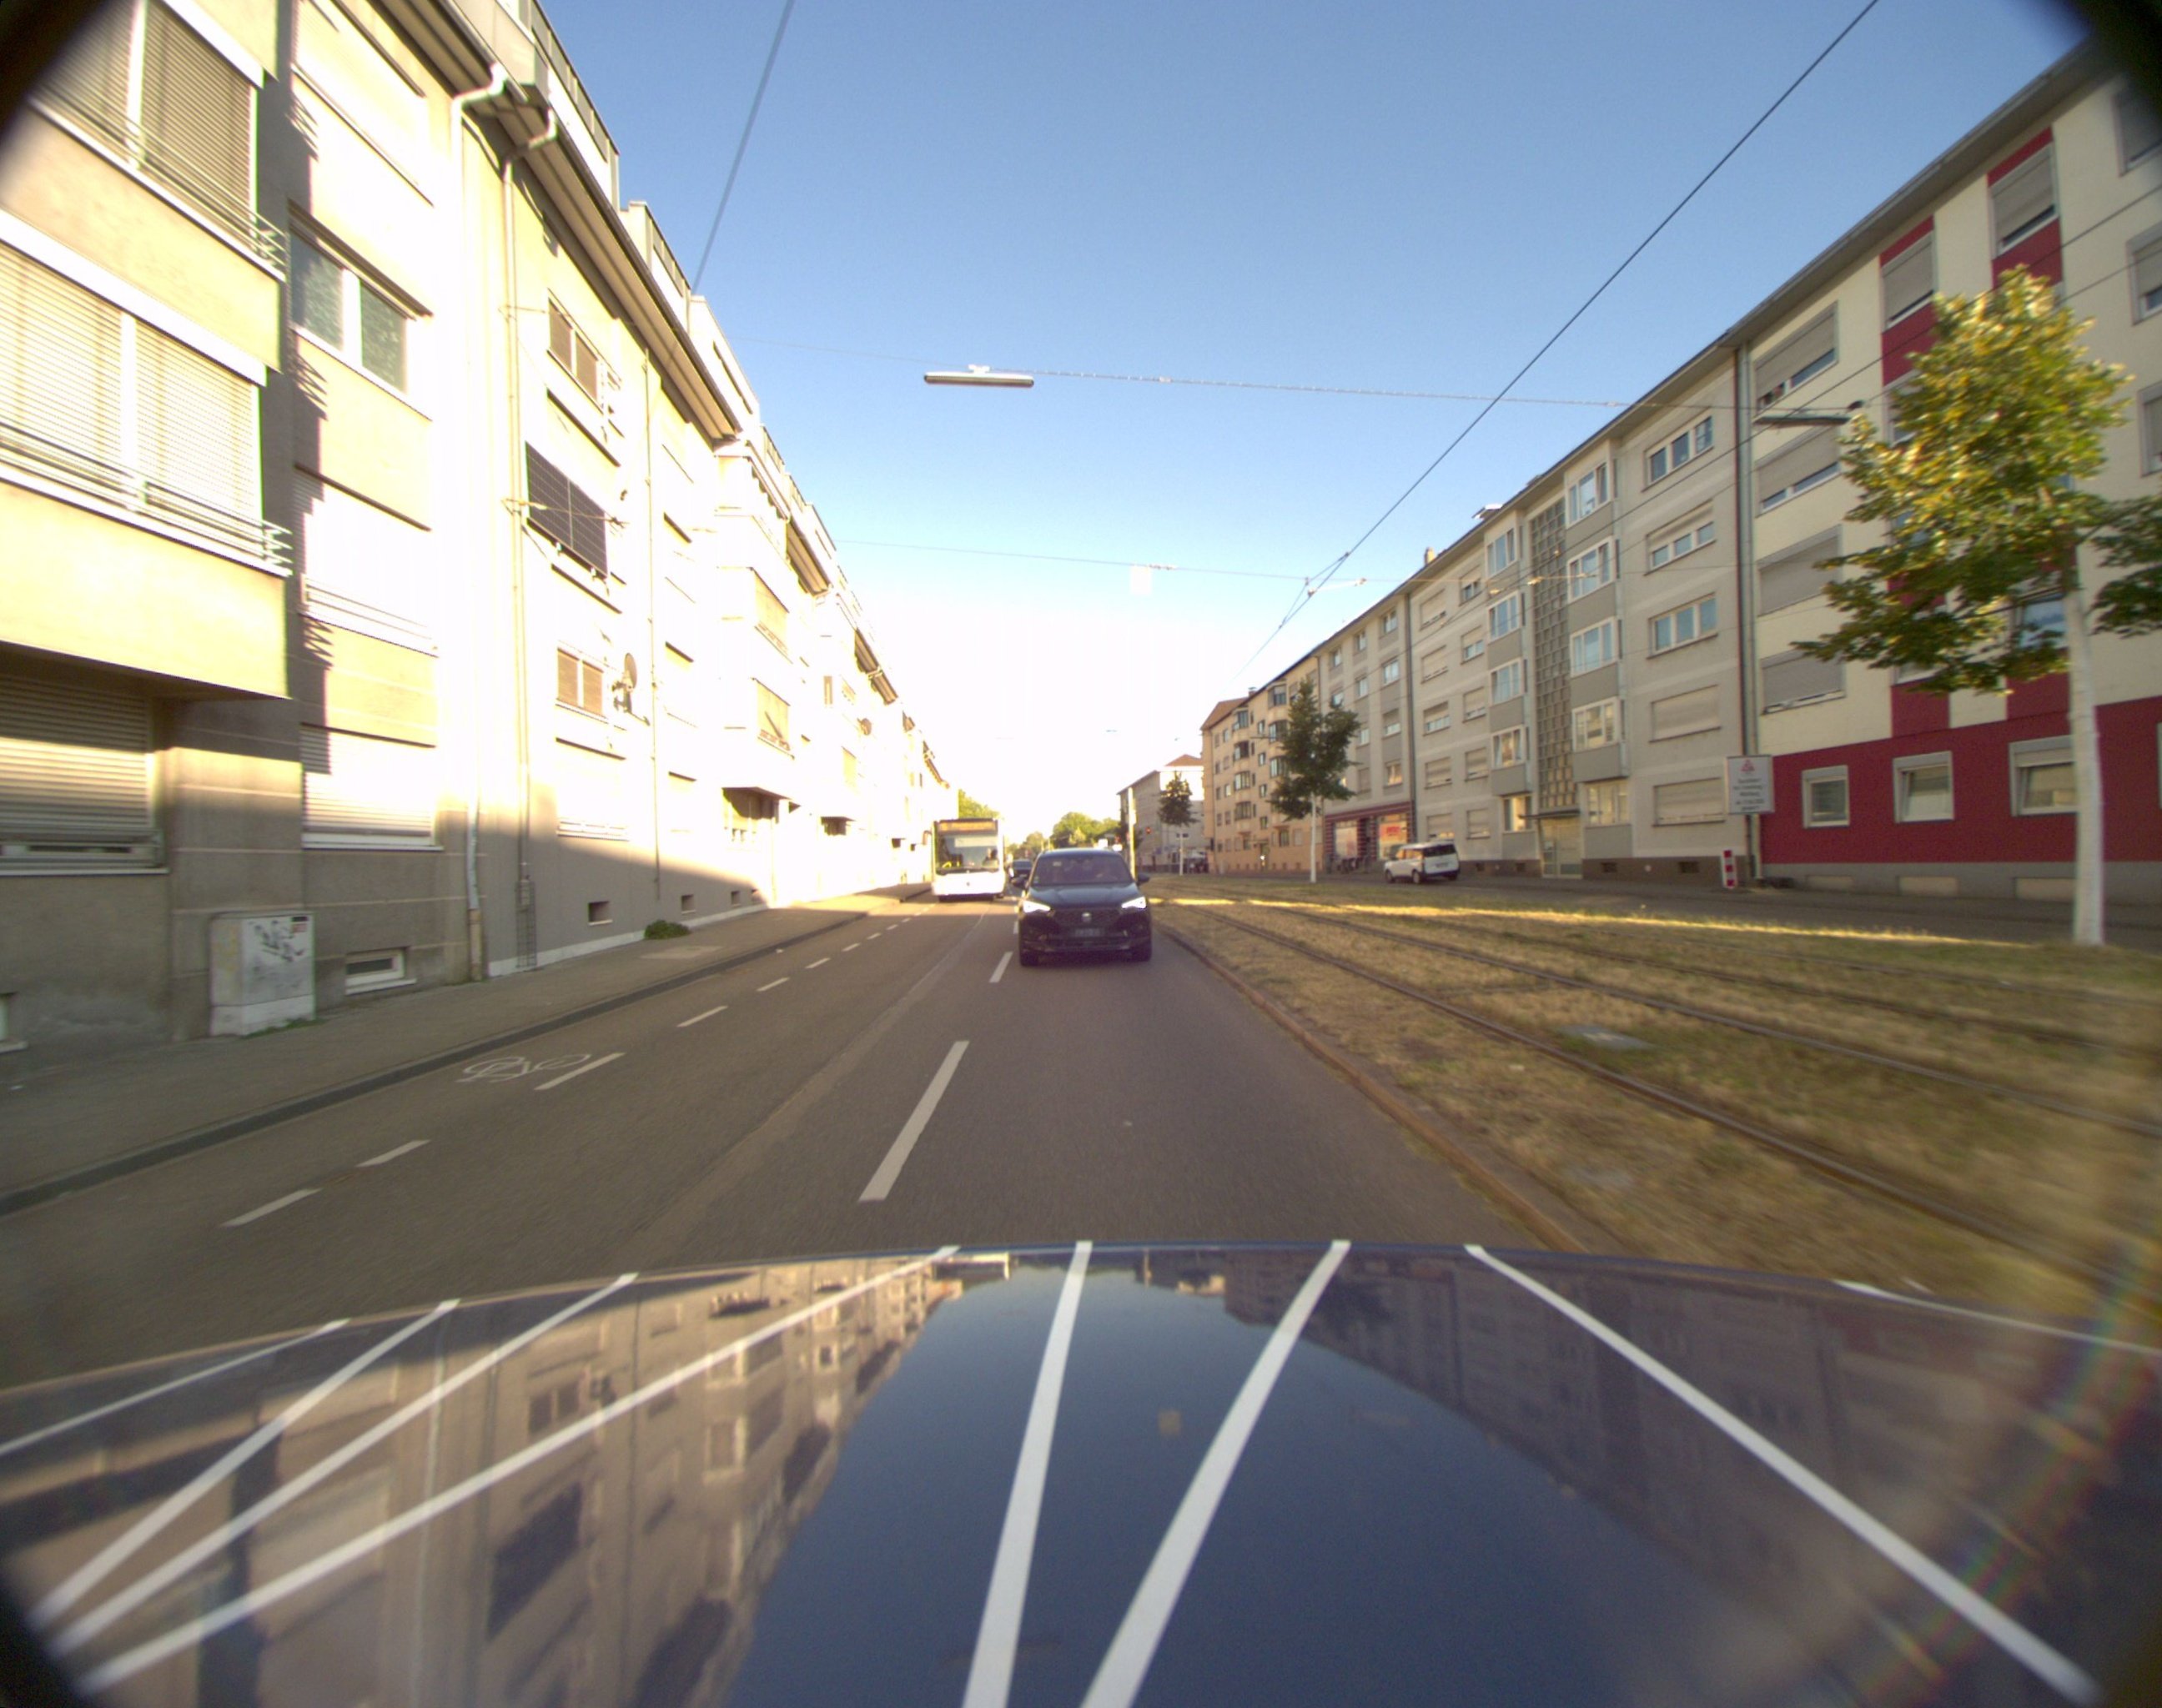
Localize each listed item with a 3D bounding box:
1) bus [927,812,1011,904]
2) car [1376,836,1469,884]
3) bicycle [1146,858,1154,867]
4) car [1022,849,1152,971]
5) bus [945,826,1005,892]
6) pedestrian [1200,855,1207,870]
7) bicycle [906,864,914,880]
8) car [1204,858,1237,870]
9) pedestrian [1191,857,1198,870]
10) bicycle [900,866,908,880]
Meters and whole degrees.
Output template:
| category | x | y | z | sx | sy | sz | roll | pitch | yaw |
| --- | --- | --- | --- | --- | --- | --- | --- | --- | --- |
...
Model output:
| category | x | y | z | sx | sy | sz | roll | pitch | yaw |
| --- | --- | --- | --- | --- | --- | --- | --- | --- | --- |
| bus | -4.414 | 0.178 | 31.058 | 2.733 | 3.059 | 10.594 | -2 | 0 | -7 |
| car | 15.590 | 0.255 | 35.024 | 1.872 | 1.818 | 4.420 | -8 | 0 | -3 |
| bicycle | 10.761 | 1.268 | 118.550 | 0.580 | 1.370 | 3.235 | -1 | 0 | -7 |
| car | -0.057 | 0.789 | 13.008 | 1.788 | 1.615 | 4.214 | -3 | 1 | -4 |
| bus | -5.689 | 0.287 | 41.572 | 2.714 | 3.059 | 10.594 | -2 | 0 | -7 |
| pedestrian | 14.751 | 0.982 | 91.605 | 0.634 | 1.760 | 0.826 | -1 | 0 | 25 |
| bicycle | -11.627 | 1.232 | 51.663 | 0.361 | 1.026 | 1.729 | 2 | -1 | -7 |
| car | 18.876 | 1.385 | 103.019 | 4.000 | 1.499 | 1.998 | -1 | 0 | -10 |
| pedestrian | 13.785 | 1.140 | 92.361 | 0.624 | 1.481 | 0.582 | -2 | 1 | -7 |
| bicycle | -12.033 | 1.282 | 51.613 | 0.279 | 0.965 | 1.729 | 2 | -1 | -7 |
